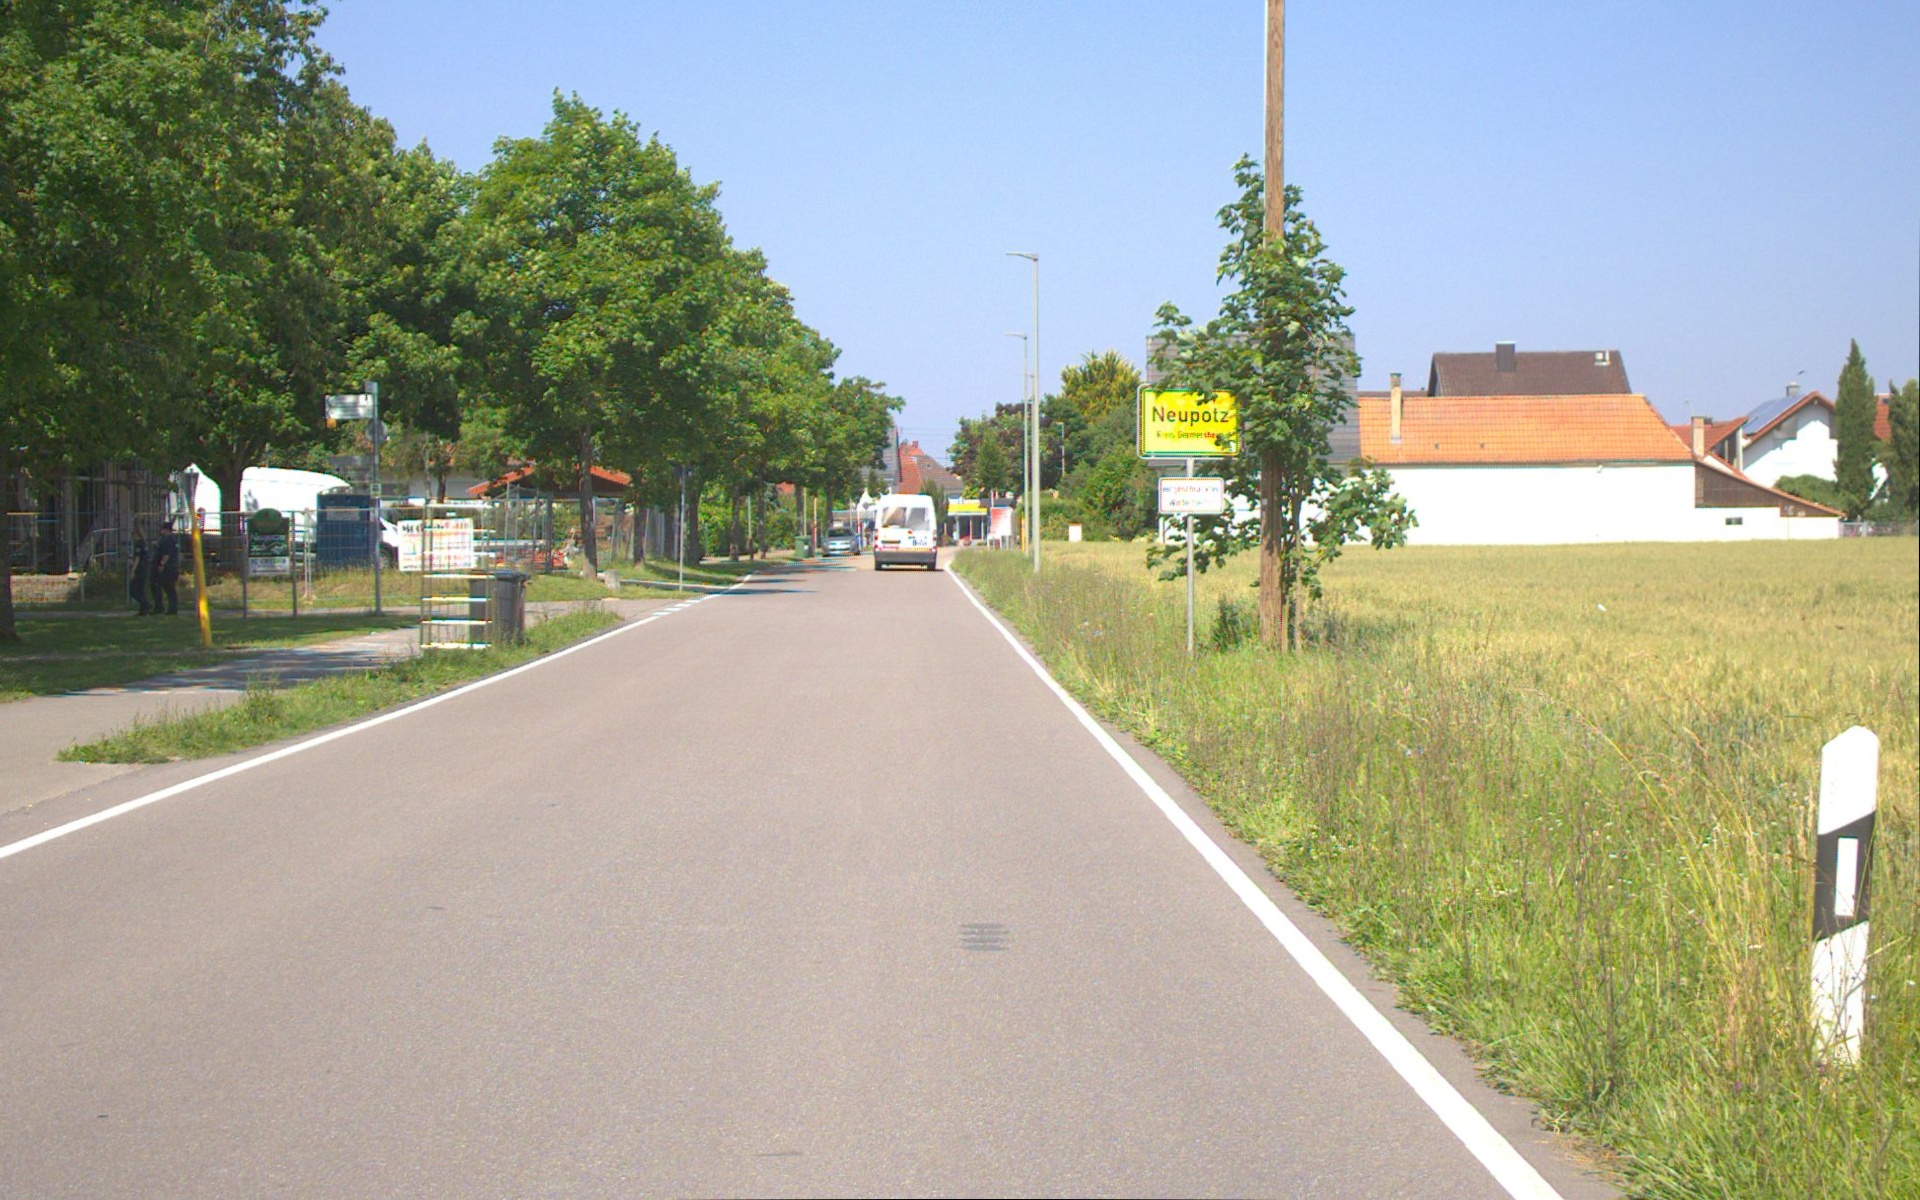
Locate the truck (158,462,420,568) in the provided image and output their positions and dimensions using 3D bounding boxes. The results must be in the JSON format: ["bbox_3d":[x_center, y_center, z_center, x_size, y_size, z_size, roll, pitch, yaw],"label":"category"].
[{"bbox_3d":[-16.105,-2.023,82.721,5.914,2.475,2.000,-1,1,-37],"label":"truck"}]

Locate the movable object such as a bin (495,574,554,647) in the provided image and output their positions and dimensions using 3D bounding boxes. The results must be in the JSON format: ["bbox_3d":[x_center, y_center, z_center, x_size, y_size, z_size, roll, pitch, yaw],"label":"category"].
[{"bbox_3d":[-5.367,0.127,42.386,0.562,0.874,0.613,-1,1,7],"label":"movable object such as a bin"}]

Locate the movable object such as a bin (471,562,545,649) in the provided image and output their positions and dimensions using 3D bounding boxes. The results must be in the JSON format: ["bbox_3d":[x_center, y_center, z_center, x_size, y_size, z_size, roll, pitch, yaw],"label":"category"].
[{"bbox_3d":[-5.469,0.066,41.626,0.699,1.020,0.748,-1,1,7],"label":"movable object such as a bin"}]

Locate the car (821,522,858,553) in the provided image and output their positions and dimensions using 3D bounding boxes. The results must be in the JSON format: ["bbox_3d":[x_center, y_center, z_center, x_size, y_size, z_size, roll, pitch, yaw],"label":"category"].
[{"bbox_3d":[-5.869,-3.056,167.760,1.647,1.419,4.081,-3,1,-1],"label":"car"}]

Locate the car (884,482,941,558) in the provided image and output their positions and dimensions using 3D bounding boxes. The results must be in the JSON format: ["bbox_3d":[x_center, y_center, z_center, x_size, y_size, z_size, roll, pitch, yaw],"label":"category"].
[{"bbox_3d":[-1.571,-2.600,112.173,1.737,2.424,4.375,-1,1,-2],"label":"car"}]

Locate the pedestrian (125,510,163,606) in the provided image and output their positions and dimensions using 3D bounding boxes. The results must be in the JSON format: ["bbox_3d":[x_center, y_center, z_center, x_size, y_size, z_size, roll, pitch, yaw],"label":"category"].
[{"bbox_3d":[-14.885,-0.768,62.728,0.603,1.745,0.587,-1,1,-10],"label":"pedestrian"}]

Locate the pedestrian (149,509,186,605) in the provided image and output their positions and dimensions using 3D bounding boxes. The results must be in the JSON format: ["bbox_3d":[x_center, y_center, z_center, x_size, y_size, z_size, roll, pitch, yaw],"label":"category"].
[{"bbox_3d":[-14.627,-0.798,63.463,0.603,1.745,0.587,-1,1,-10],"label":"pedestrian"}]
